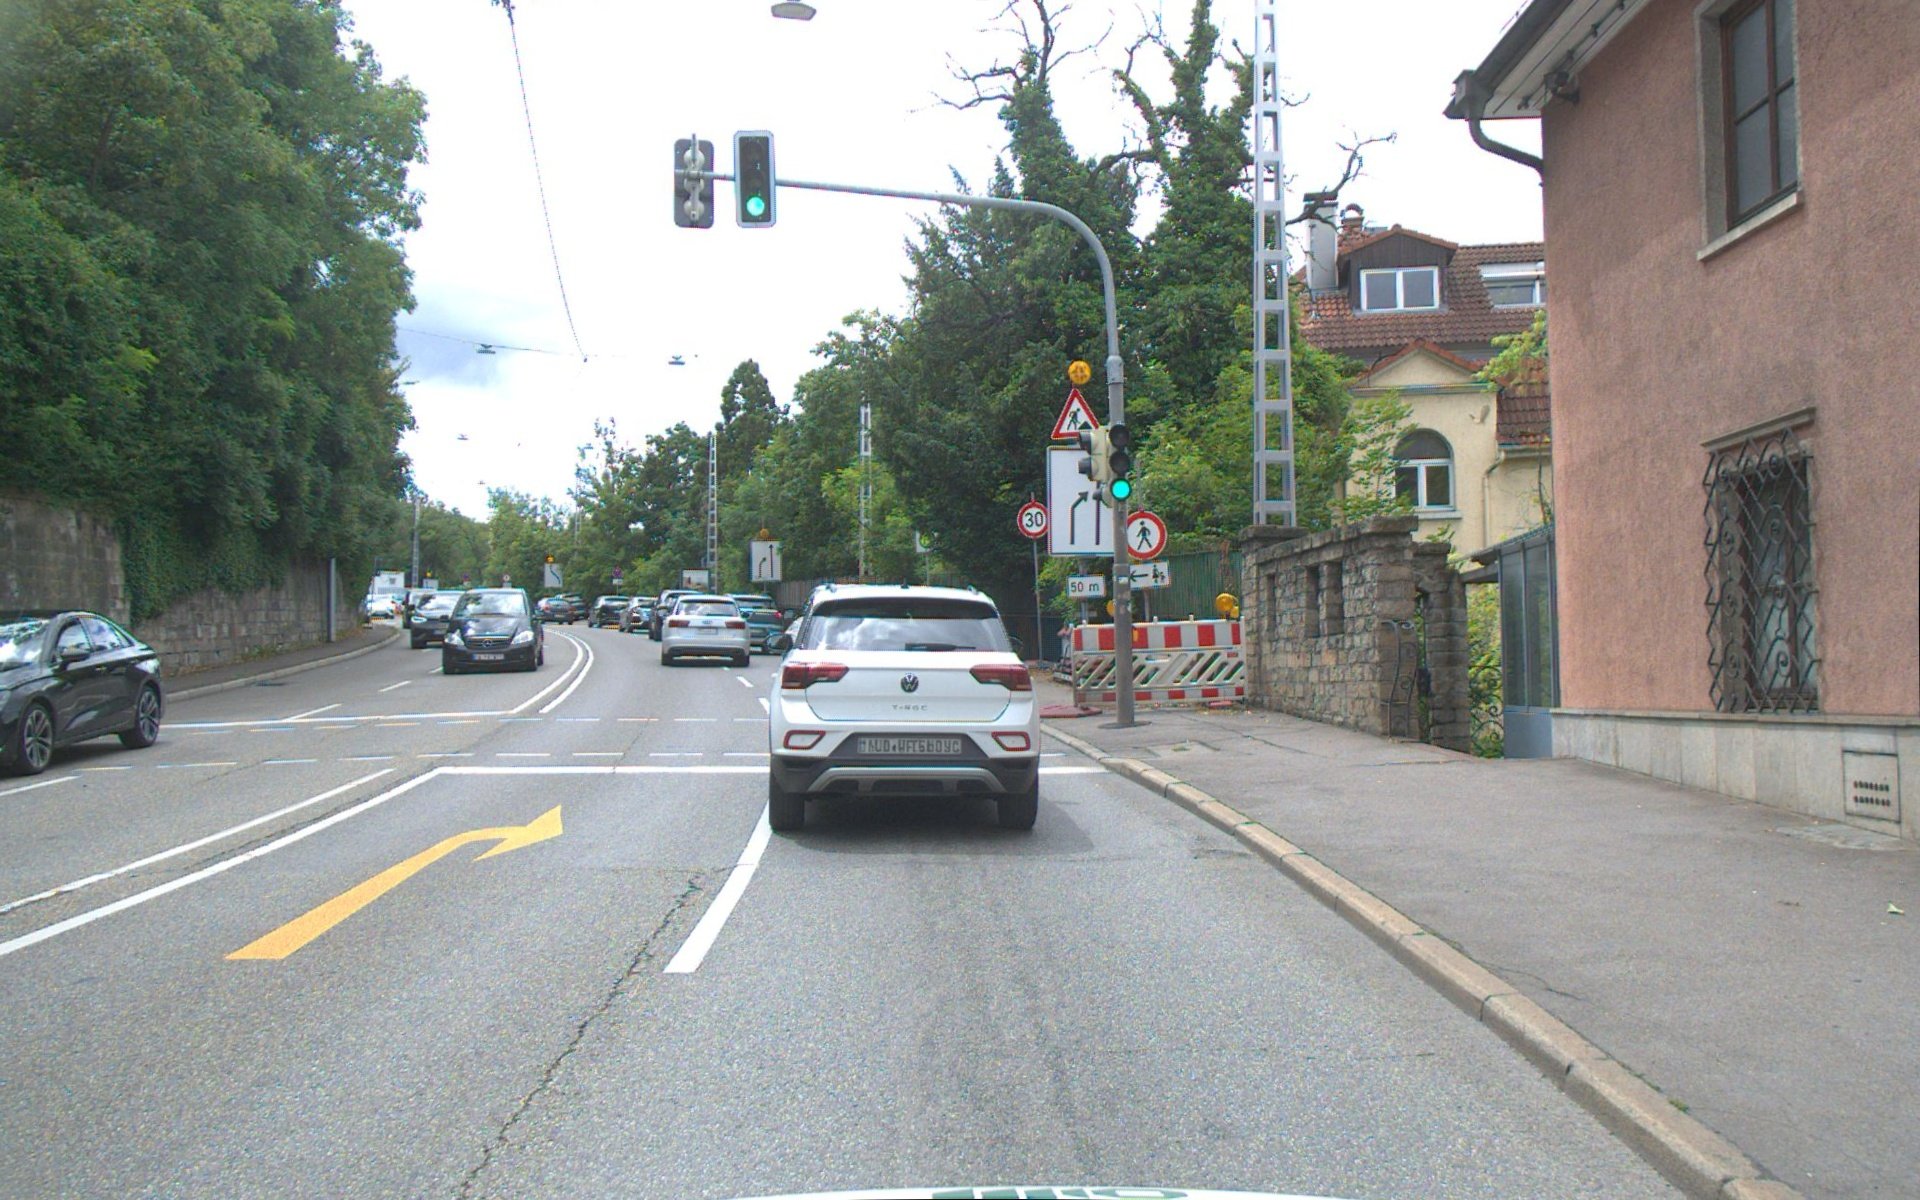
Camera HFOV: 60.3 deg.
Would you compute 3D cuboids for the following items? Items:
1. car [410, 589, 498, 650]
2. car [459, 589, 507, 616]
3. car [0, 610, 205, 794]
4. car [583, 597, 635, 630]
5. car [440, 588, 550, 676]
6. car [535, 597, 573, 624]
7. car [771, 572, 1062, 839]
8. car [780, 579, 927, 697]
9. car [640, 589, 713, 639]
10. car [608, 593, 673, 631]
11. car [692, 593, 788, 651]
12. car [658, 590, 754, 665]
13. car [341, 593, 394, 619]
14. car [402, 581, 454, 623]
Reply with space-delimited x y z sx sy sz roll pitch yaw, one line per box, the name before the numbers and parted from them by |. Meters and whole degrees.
car | -15.049 0.553 49.367 1.958 1.636 4.465 -2 0 -11
car | -31.018 0.144 107.576 1.826 1.729 3.950 0 0 -35
car | -8.779 0.871 15.404 1.649 1.443 4.425 -2 0 -4
car | -16.252 0.623 76.467 1.963 1.475 4.129 0 -1 -18
car | -9.169 0.598 32.853 1.723 1.593 3.670 -2 0 -10
car | -22.441 0.585 91.412 1.753 1.480 3.979 0 -1 -18
car | -0.421 0.656 11.808 1.723 1.583 3.791 1 -1 -5
car | -1.694 0.554 25.188 1.726 1.638 3.785 1 -1 -11
car | -9.492 0.448 55.158 1.961 1.583 4.133 1 0 -16
car | -12.841 0.504 66.350 1.964 1.475 4.125 0 -1 -20
car | -5.893 0.587 44.018 1.961 1.439 4.132 -1 -1 -16
car | -5.458 0.568 35.296 1.727 1.497 3.782 1 -1 -13
car | -37.250 0.405 103.988 1.772 1.492 4.040 -2 0 -41
car | -24.832 0.061 77.320 1.712 1.878 4.239 -1 0 -10
